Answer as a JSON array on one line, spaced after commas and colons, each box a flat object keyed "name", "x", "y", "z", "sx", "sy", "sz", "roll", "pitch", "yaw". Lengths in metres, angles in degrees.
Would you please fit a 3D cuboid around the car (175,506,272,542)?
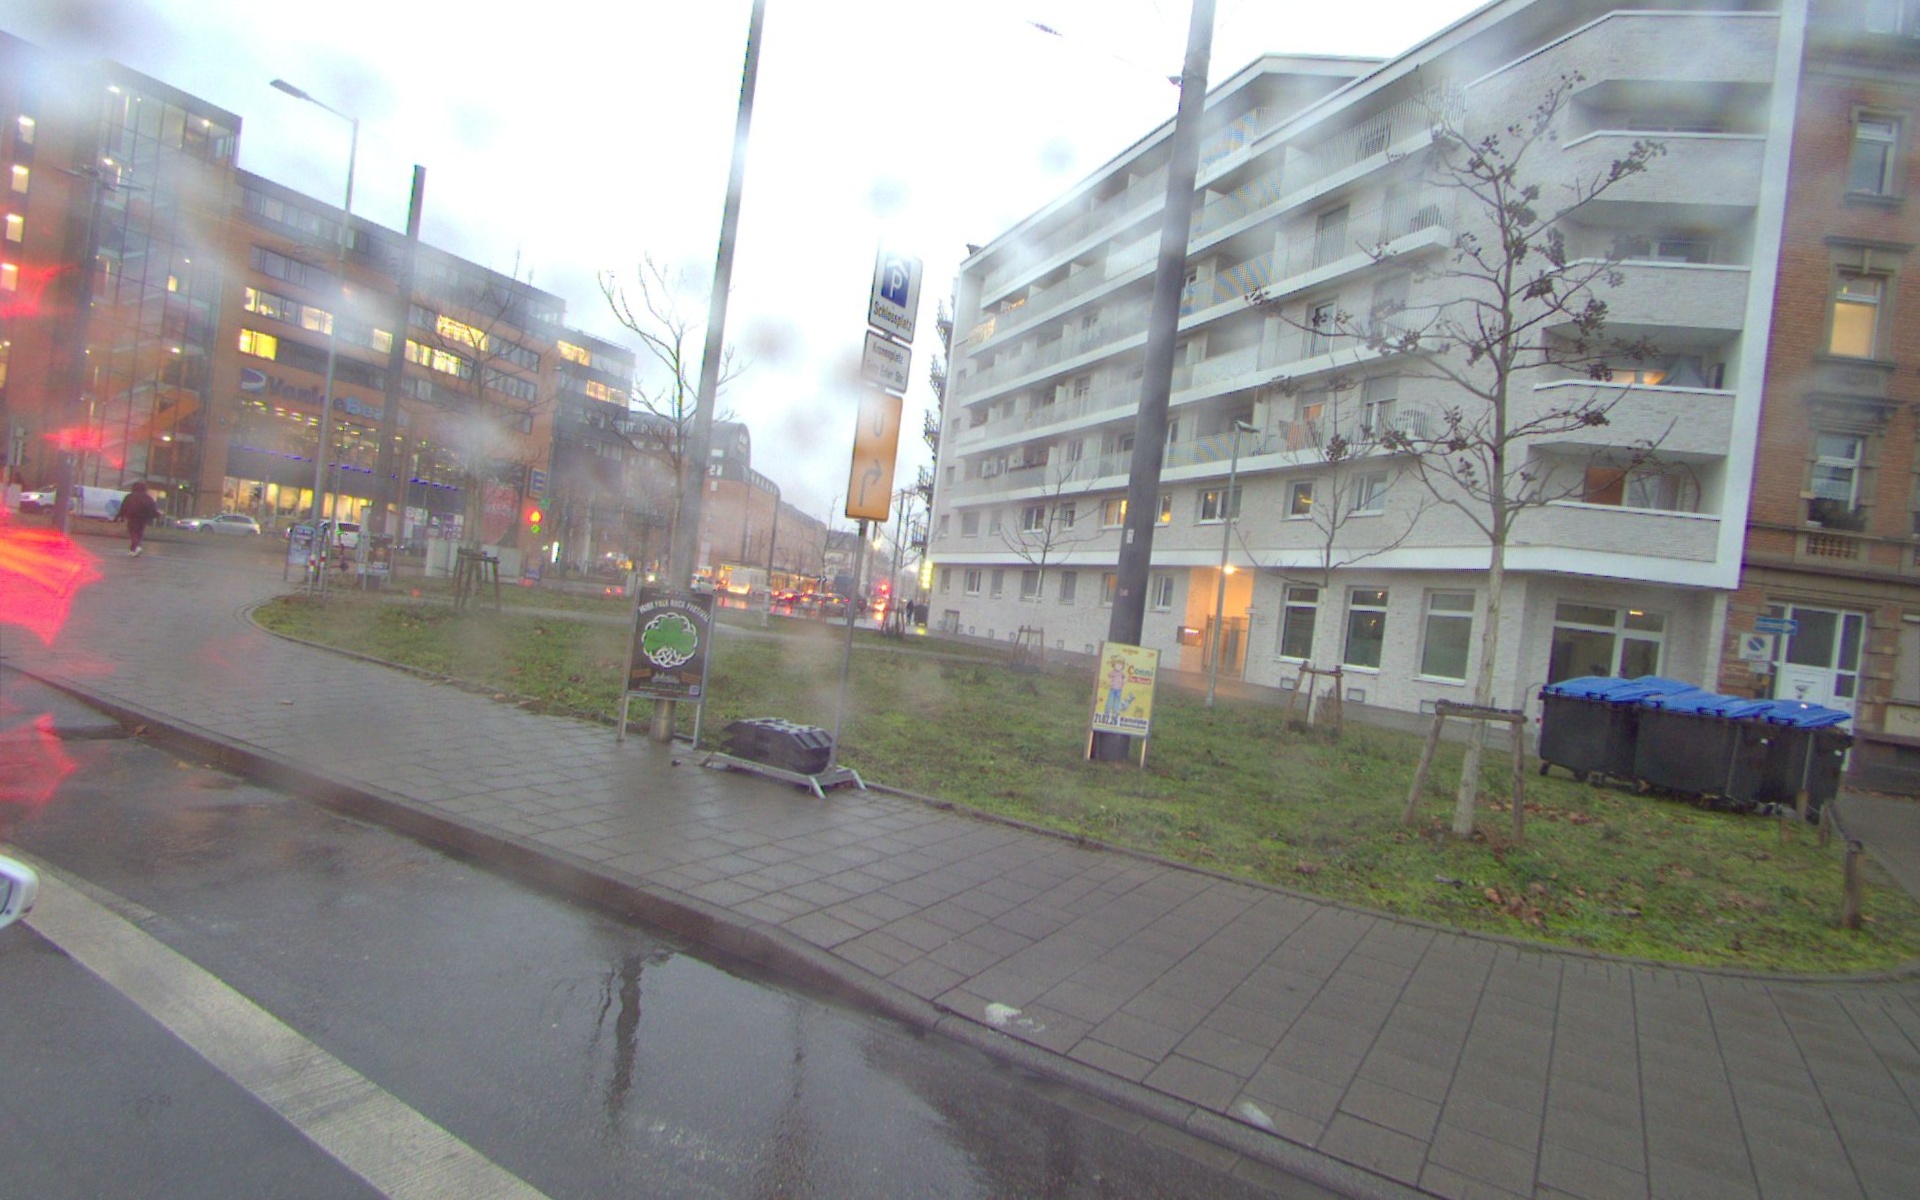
[{"name": "car", "x": -43.563, "y": -4.486, "z": 59.599, "sx": 1.767, "sy": 1.406, "sz": 4.227, "roll": 7, "pitch": -1, "yaw": 25}]

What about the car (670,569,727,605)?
[{"name": "car", "x": -19.889, "y": -0.968, "z": 76.613, "sx": 1.963, "sy": 2.036, "sz": 4.003, "roll": 8, "pitch": -2, "yaw": 22}]

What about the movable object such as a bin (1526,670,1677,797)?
[{"name": "movable object such as a bin", "x": 9.042, "y": 1.862, "z": 14.237, "sx": 1.016, "sy": 1.513, "sz": 1.324, "roll": 7, "pitch": 0, "yaw": -18}]

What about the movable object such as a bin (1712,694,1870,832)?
[{"name": "movable object such as a bin", "x": 10.739, "y": 2.084, "z": 13.030, "sx": 1.021, "sy": 1.507, "sz": 1.039, "roll": 9, "pitch": -2, "yaw": -12}]

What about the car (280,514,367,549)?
[{"name": "car", "x": -41.340, "y": -4.421, "z": 65.486, "sx": 1.767, "sy": 1.553, "sz": 4.444, "roll": 7, "pitch": -1, "yaw": 25}]

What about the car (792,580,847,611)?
[{"name": "car", "x": -10.520, "y": -0.300, "z": 75.906, "sx": 1.798, "sy": 1.873, "sz": 4.682, "roll": 6, "pitch": -1, "yaw": 23}]

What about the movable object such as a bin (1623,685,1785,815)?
[{"name": "movable object such as a bin", "x": 9.585, "y": 1.913, "z": 13.001, "sx": 1.003, "sy": 1.434, "sz": 1.218, "roll": 6, "pitch": 1, "yaw": -21}]

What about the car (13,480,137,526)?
[{"name": "car", "x": -46.267, "y": -5.025, "z": 52.692, "sx": 1.767, "sy": 1.614, "sz": 4.431, "roll": 7, "pitch": -1, "yaw": 25}]

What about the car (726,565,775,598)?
[{"name": "car", "x": -17.471, "y": -1.499, "z": 84.181, "sx": 1.962, "sy": 2.036, "sz": 4.957, "roll": 8, "pitch": -2, "yaw": 11}]

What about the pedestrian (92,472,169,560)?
[{"name": "pedestrian", "x": -20.555, "y": -2.061, "z": 24.968, "sx": 1.164, "sy": 1.945, "sz": 0.890, "roll": 10, "pitch": -2, "yaw": -35}]
